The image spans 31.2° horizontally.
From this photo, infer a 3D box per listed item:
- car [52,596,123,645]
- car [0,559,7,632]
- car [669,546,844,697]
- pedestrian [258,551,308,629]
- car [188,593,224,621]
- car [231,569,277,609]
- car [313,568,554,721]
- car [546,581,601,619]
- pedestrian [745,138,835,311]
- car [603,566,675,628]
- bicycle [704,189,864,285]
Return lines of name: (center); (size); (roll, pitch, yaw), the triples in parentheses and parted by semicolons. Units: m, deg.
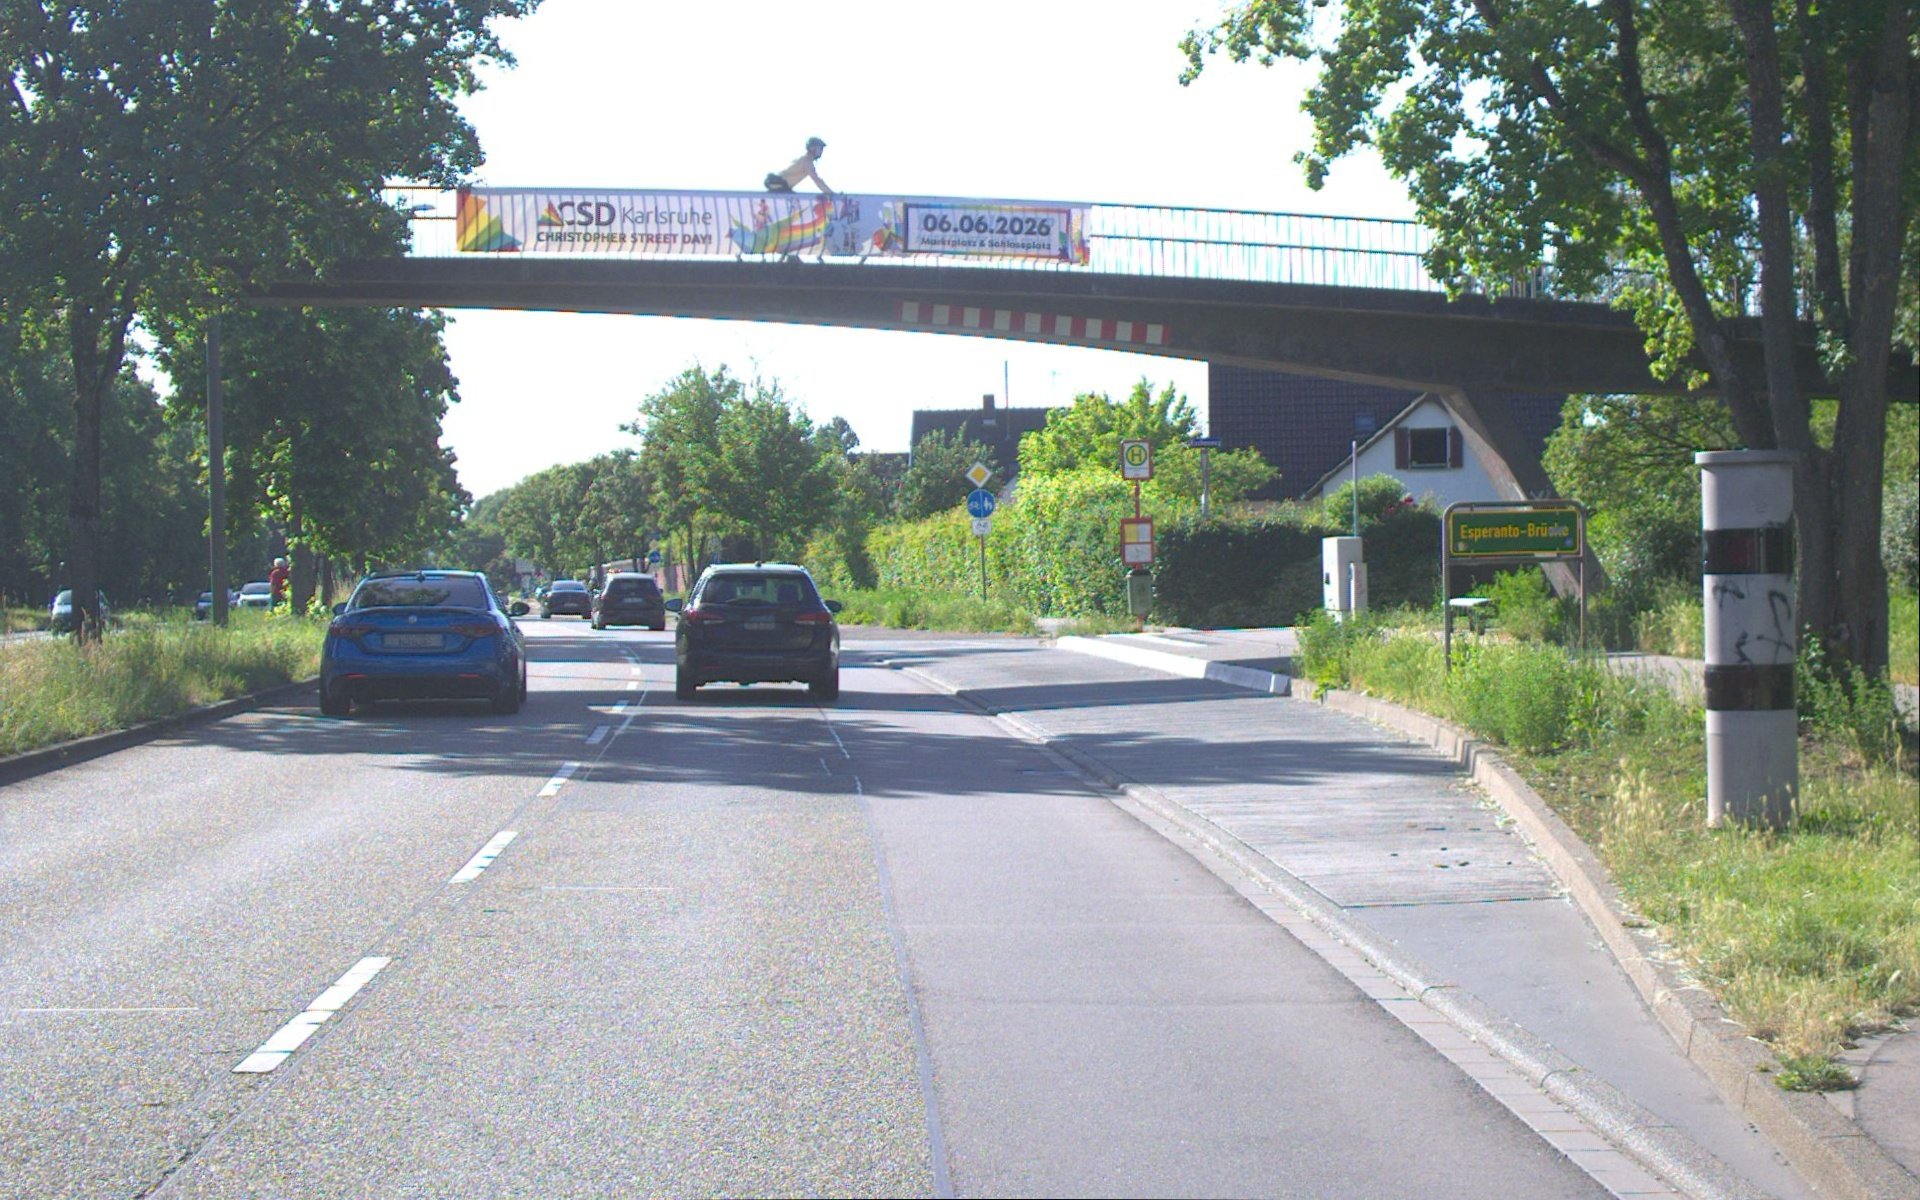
car: (-27.716, 0.640, 109.269); (1.539, 1.426, 4.256); (-2, 1, -6)
car: (-22.088, -0.049, 74.736); (1.731, 1.641, 4.901); (-2, 1, -5)
car: (-2.305, 0.236, 38.046); (1.760, 1.554, 4.001); (1, 0, -5)
pedestrian: (-14.690, -0.219, 74.603); (0.631, 1.691, 0.942); (0, 0, 22)
car: (-41.415, 0.375, 188.824); (1.805, 1.495, 4.597); (-1, 1, -13)
car: (-30.448, -0.471, 148.337); (1.730, 1.626, 4.199); (-2, 0, -9)
car: (-5.210, 0.401, 34.515); (1.994, 1.400, 4.001); (-1, 1, -3)
car: (-14.782, -0.014, 131.240); (1.898, 1.351, 4.001); (-1, 1, -9)
pedestrian: (-2.185, -4.810, 44.142); (1.065, 2.116, 0.997); (-1, 1, -6)
car: (-8.597, -0.098, 91.900); (1.743, 1.592, 4.176); (0, 1, -8)
bicycle: (-2.265, -4.650, 44.106); (1.988, 1.104, 0.728); (1, 1, -5)
